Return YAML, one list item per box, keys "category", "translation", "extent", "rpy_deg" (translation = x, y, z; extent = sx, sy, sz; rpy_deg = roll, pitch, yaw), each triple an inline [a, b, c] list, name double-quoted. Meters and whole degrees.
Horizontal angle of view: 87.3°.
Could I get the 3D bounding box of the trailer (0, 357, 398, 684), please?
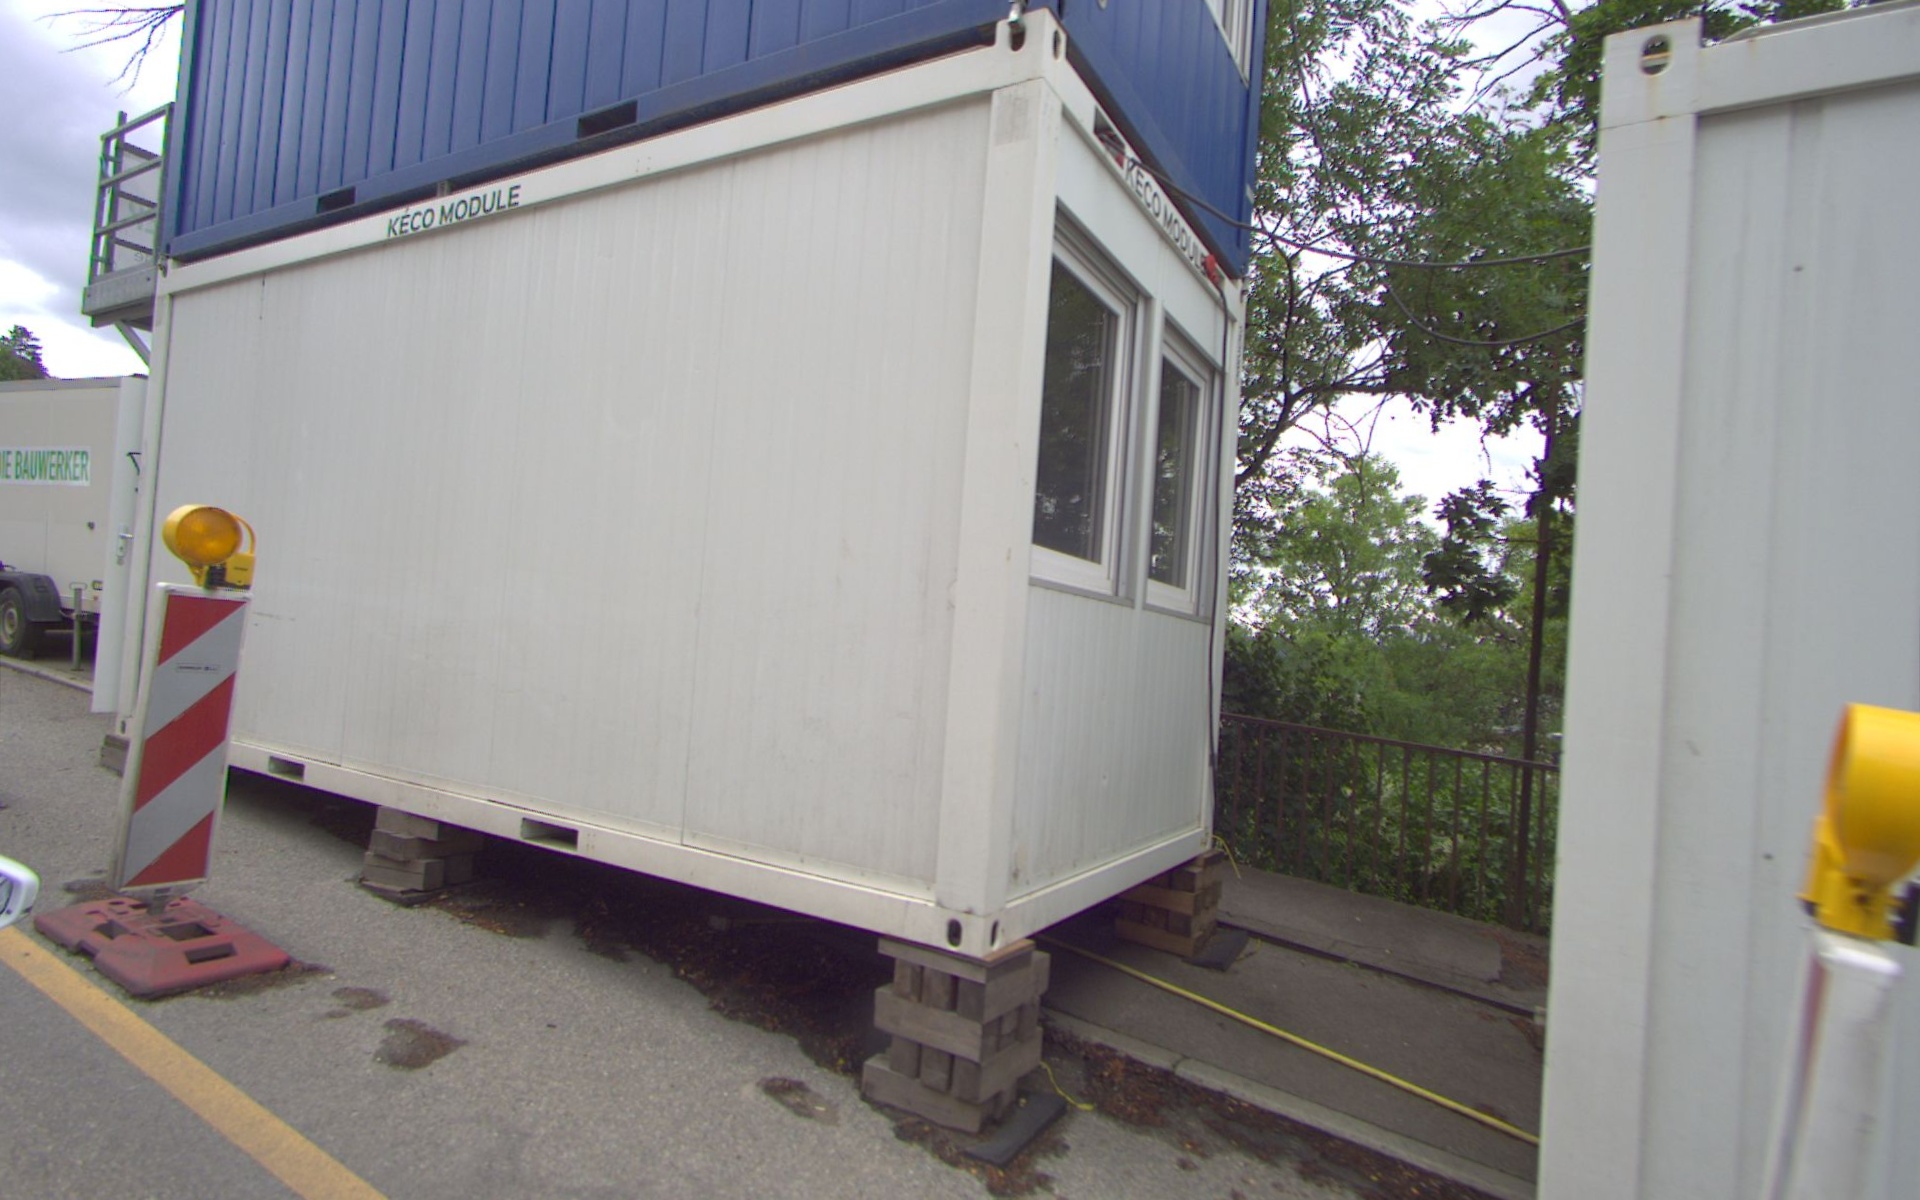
- category: "trailer"
  translation: [-8.323, -0.846, 9.981]
  extent: [5.027, 2.583, 2.111]
  rpy_deg: [7, 2, 25]
